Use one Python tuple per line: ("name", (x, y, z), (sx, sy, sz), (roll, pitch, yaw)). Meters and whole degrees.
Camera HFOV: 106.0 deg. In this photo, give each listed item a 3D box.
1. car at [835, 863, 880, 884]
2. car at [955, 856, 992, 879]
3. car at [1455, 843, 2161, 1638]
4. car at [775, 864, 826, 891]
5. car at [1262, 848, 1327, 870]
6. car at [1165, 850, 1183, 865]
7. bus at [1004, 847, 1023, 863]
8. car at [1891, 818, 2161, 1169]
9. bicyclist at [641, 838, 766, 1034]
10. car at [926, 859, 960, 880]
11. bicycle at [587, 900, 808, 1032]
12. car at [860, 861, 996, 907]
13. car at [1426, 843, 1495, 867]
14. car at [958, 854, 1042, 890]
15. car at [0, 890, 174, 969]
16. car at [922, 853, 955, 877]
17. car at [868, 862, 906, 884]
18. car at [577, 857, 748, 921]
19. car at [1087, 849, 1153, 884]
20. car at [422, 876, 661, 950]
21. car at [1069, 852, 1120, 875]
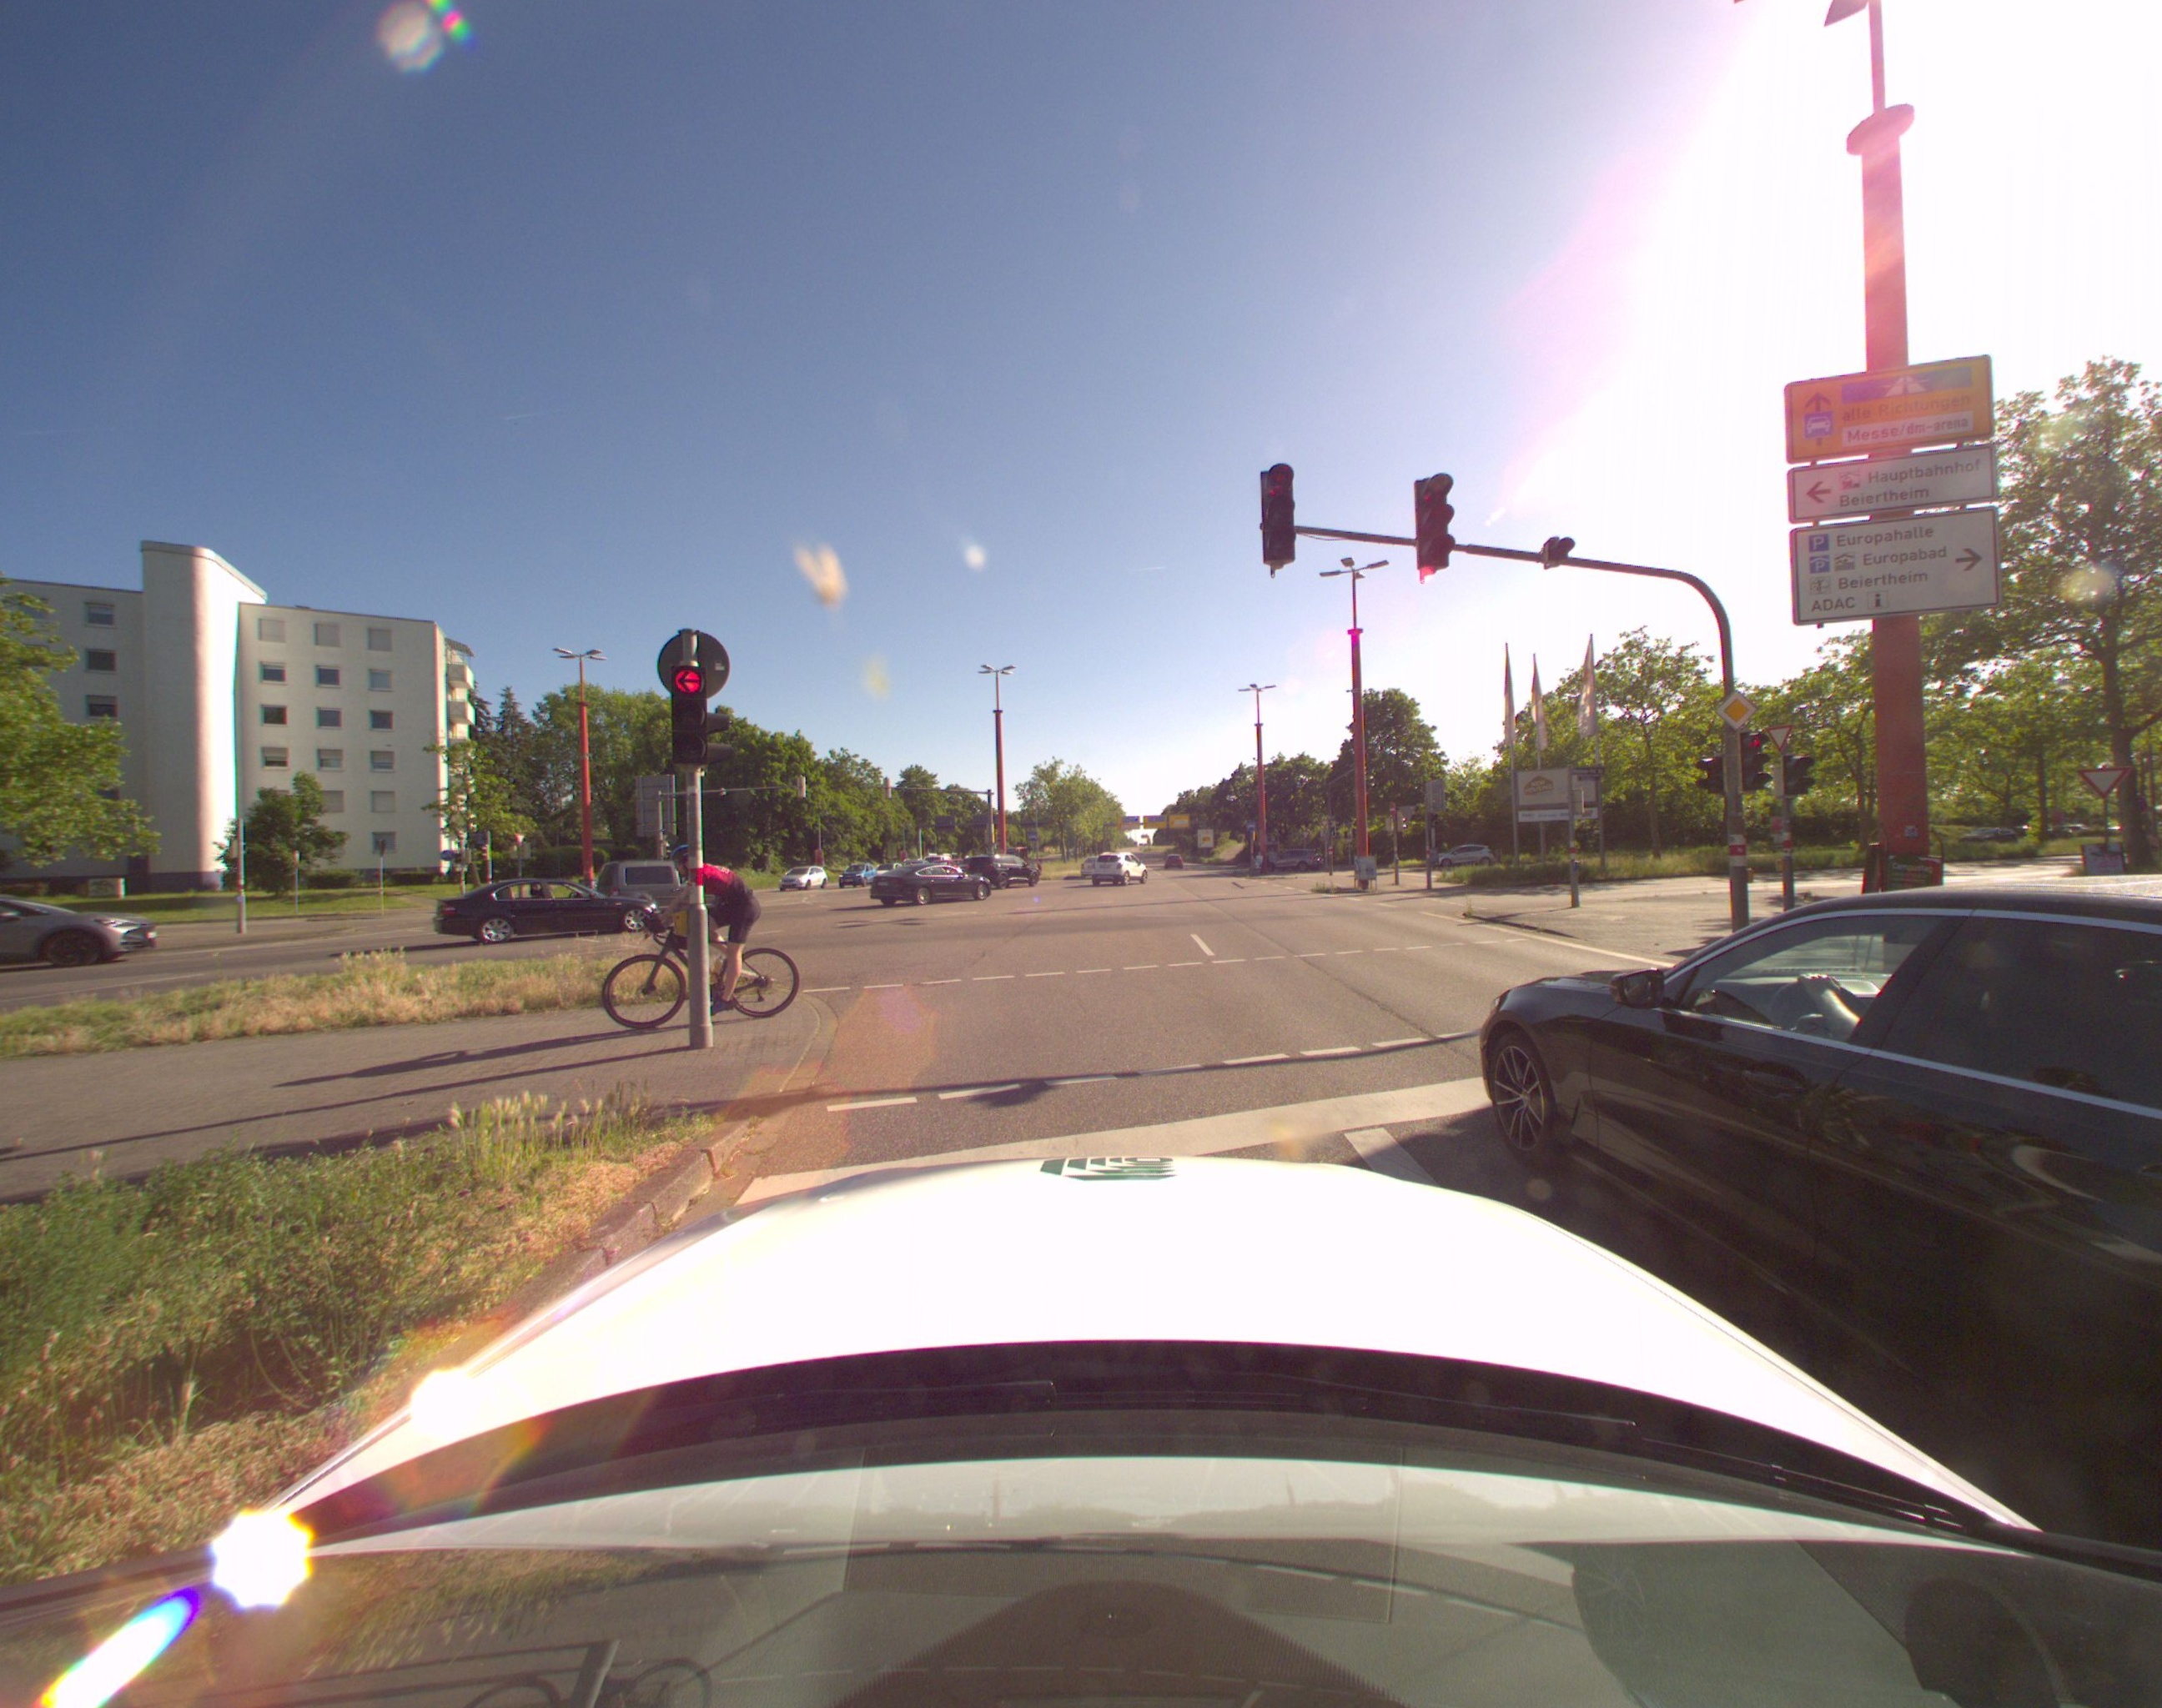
("car", (-14.086, 1.211, 51.420), (1.733, 1.243, 3.613), (-2, 0, 1))
("car", (-7.402, 0.922, 56.377), (1.812, 1.508, 4.002), (-2, 0, 2))
("car", (2.926, 0.688, 2.374), (1.861, 1.398, 4.448), (-2, 0, 4))
("car", (-17.576, 1.455, 51.193), (1.754, 1.532, 3.936), (-2, 0, 1))
("car", (15.883, 0.361, 60.700), (4.273, 1.485, 1.797), (-2, 0, 39))
("car", (9.316, 0.344, 81.470), (1.672, 1.435, 4.072), (-2, 0, 6))
("bus", (-14.407, 0.201, 174.133), (2.481, 3.238, 10.010), (-2, 0, 4))
("car", (5.673, 0.602, 2.863), (1.732, 1.578, 4.032), (-2, 0, 3))
("bicyclist", (-3.605, 0.737, 7.855), (0.998, 1.741, 0.731), (-2, 0, -22))
("car", (-9.904, 1.086, 58.667), (1.733, 1.362, 3.613), (-2, 0, 1))
("bicycle", (-3.617, 1.027, 7.866), (1.831, 1.057, 0.718), (-2, 0, -20))
("car", (-5.124, 0.973, 27.748), (1.743, 1.350, 4.390), (-2, 0, 40))
("car", (25.609, 0.062, 55.035), (3.955, 1.467, 1.689), (-2, 0, 12))
("car", (-3.839, 0.839, 39.288), (1.834, 1.545, 4.289), (-2, 0, 30))
("car", (-21.831, 1.558, 16.397), (4.457, 1.422, 1.816), (-2, 0, -37))
("car", (-12.480, 0.980, 71.549), (1.886, 2.026, 5.223), (-1, -1, 1))
("car", (-13.669, 1.317, 57.529), (1.733, 1.411, 3.613), (-2, 0, 1))
("car", (-12.921, 1.028, 25.348), (1.828, 1.708, 4.333), (-2, 0, 42))
("car", (2.040, 0.596, 41.386), (1.806, 1.636, 4.277), (-2, 0, 25))
("car", (-12.383, 1.279, 18.877), (4.387, 1.350, 1.744), (-2, 0, -43))
("car", (0.894, 0.607, 52.258), (1.468, 1.346, 4.025), (-2, -1, 30))
